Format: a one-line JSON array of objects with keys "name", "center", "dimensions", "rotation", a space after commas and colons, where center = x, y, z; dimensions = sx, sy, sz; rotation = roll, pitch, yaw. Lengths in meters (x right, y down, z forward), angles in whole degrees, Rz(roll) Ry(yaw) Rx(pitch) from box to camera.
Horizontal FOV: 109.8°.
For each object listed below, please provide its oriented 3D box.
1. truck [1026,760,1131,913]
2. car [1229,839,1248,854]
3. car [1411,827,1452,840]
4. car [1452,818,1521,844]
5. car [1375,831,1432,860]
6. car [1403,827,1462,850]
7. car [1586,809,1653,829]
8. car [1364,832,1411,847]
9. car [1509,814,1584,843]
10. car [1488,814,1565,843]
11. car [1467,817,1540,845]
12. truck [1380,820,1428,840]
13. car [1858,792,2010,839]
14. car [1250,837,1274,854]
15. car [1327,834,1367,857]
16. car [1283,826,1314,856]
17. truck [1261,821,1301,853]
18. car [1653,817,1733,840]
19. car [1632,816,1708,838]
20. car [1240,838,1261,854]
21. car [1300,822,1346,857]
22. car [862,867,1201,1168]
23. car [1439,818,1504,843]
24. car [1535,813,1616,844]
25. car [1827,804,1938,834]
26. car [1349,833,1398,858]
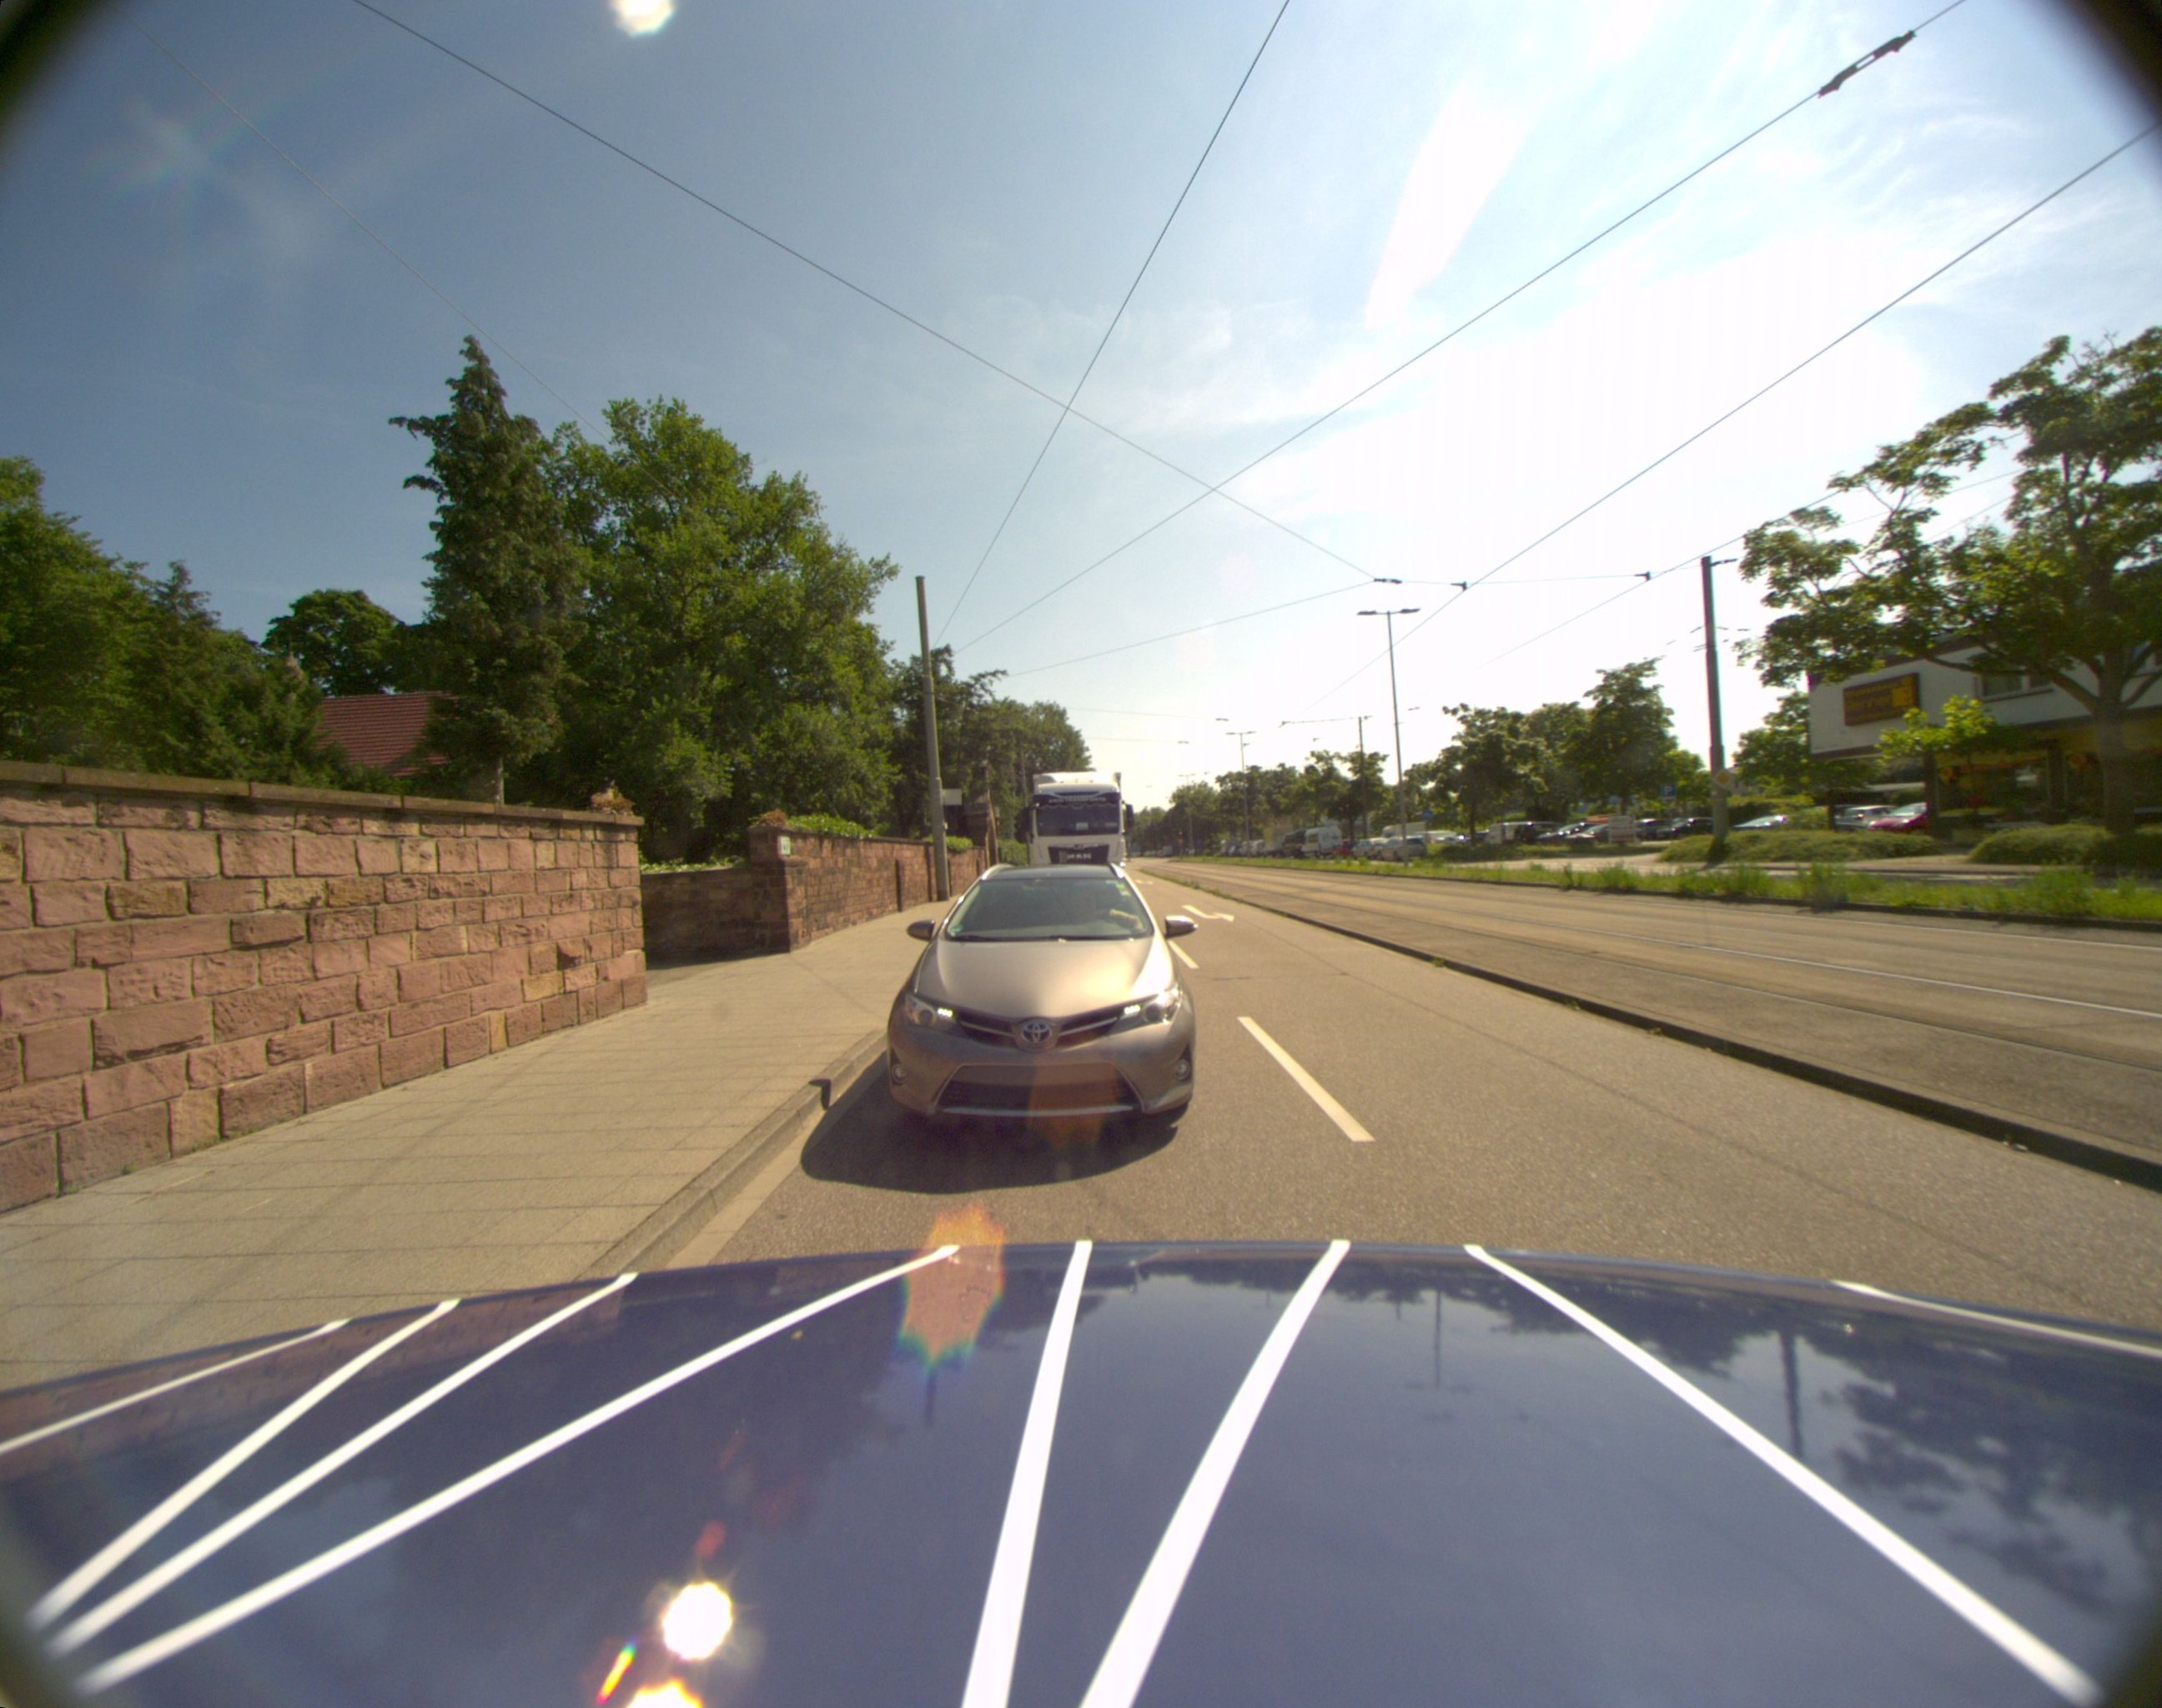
[{"name": "truck", "center": [0.023, -0.516, 24.448], "dimensions": [2.628, 3.906, 9.285], "rotation": [-2, 1, 1]}, {"name": "car", "center": [20.665, -1.011, 99.909], "dimensions": [1.502, 1.775, 3.687], "rotation": [-6, 0, 0]}, {"name": "car", "center": [43.775, -2.557, 94.866], "dimensions": [4.253, 1.327, 1.676], "rotation": [-3, 0, 1]}, {"name": "car", "center": [30.609, -1.719, 57.478], "dimensions": [4.117, 1.728, 1.990], "rotation": [-3, 0, -2]}, {"name": "car", "center": [20.308, -0.526, 48.043], "dimensions": [1.675, 1.524, 4.256], "rotation": [-6, 0, 1]}, {"name": "car", "center": [31.195, -1.352, 67.712], "dimensions": [2.594, 1.800, 5.741], "rotation": [-3, 0, 2]}, {"name": "car", "center": [44.123, -2.847, 62.342], "dimensions": [4.254, 1.327, 1.676], "rotation": [-3, 0, -1]}, {"name": "car", "center": [32.349, -1.536, 80.228], "dimensions": [4.253, 1.327, 1.676], "rotation": [-3, 0, 1]}, {"name": "car", "center": [30.594, -1.681, 49.957], "dimensions": [3.810, 1.625, 1.676], "rotation": [-3, 1, 2]}, {"name": "car", "center": [30.713, -1.734, 52.501], "dimensions": [4.117, 1.728, 1.990], "rotation": [-3, 0, -2]}, {"name": "car", "center": [30.554, -1.645, 54.971], "dimensions": [4.117, 1.728, 1.990], "rotation": [-3, 0, -2]}, {"name": "truck", "center": [44.675, -3.324, 105.064], "dimensions": [5.652, 2.367, 1.990], "rotation": [-3, 1, -2]}, {"name": "car", "center": [35.270, -1.564, 31.512], "dimensions": [4.252, 1.595, 1.676], "rotation": [-3, 0, 2]}, {"name": "car", "center": [20.690, -0.982, 87.136], "dimensions": [1.502, 1.793, 4.633], "rotation": [-6, 0, 1]}, {"name": "car", "center": [20.431, -0.616, 58.546], "dimensions": [1.675, 1.524, 3.793], "rotation": [-6, 0, 1]}, {"name": "car", "center": [20.022, -1.168, 70.195], "dimensions": [1.502, 2.609, 4.007], "rotation": [-6, 0, 1]}, {"name": "truck", "center": [20.600, -1.739, 78.603], "dimensions": [2.508, 2.917, 5.903], "rotation": [-6, 0, 2]}, {"name": "car", "center": [43.966, -1.813, 54.657], "dimensions": [4.252, 1.327, 1.676], "rotation": [-3, 0, 2]}, {"name": "car", "center": [44.293, -1.997, 57.201], "dimensions": [4.252, 1.327, 1.676], "rotation": [-3, 0, 2]}, {"name": "car", "center": [21.003, -0.992, 94.058], "dimensions": [1.502, 1.835, 4.059], "rotation": [-6, 0, 0]}, {"name": "car", "center": [20.247, -1.198, 63.827], "dimensions": [2.062, 2.638, 5.203], "rotation": [-6, 0, 1]}, {"name": "car", "center": [-0.226, 0.857, 5.813], "dimensions": [1.654, 1.374, 4.000], "rotation": [-2, 0, 1]}, {"name": "car", "center": [31.252, -1.857, 60.809], "dimensions": [4.117, 1.728, 1.990], "rotation": [-3, 0, -2]}, {"name": "car", "center": [30.532, -1.536, 46.948], "dimensions": [3.810, 1.625, 1.676], "rotation": [-3, 1, 2]}, {"name": "car", "center": [44.344, -1.907, 42.098], "dimensions": [4.252, 1.327, 1.676], "rotation": [-3, 0, 2]}, {"name": "car", "center": [20.462, -0.573, 53.362], "dimensions": [1.675, 1.524, 4.256], "rotation": [-6, 0, 1]}]
